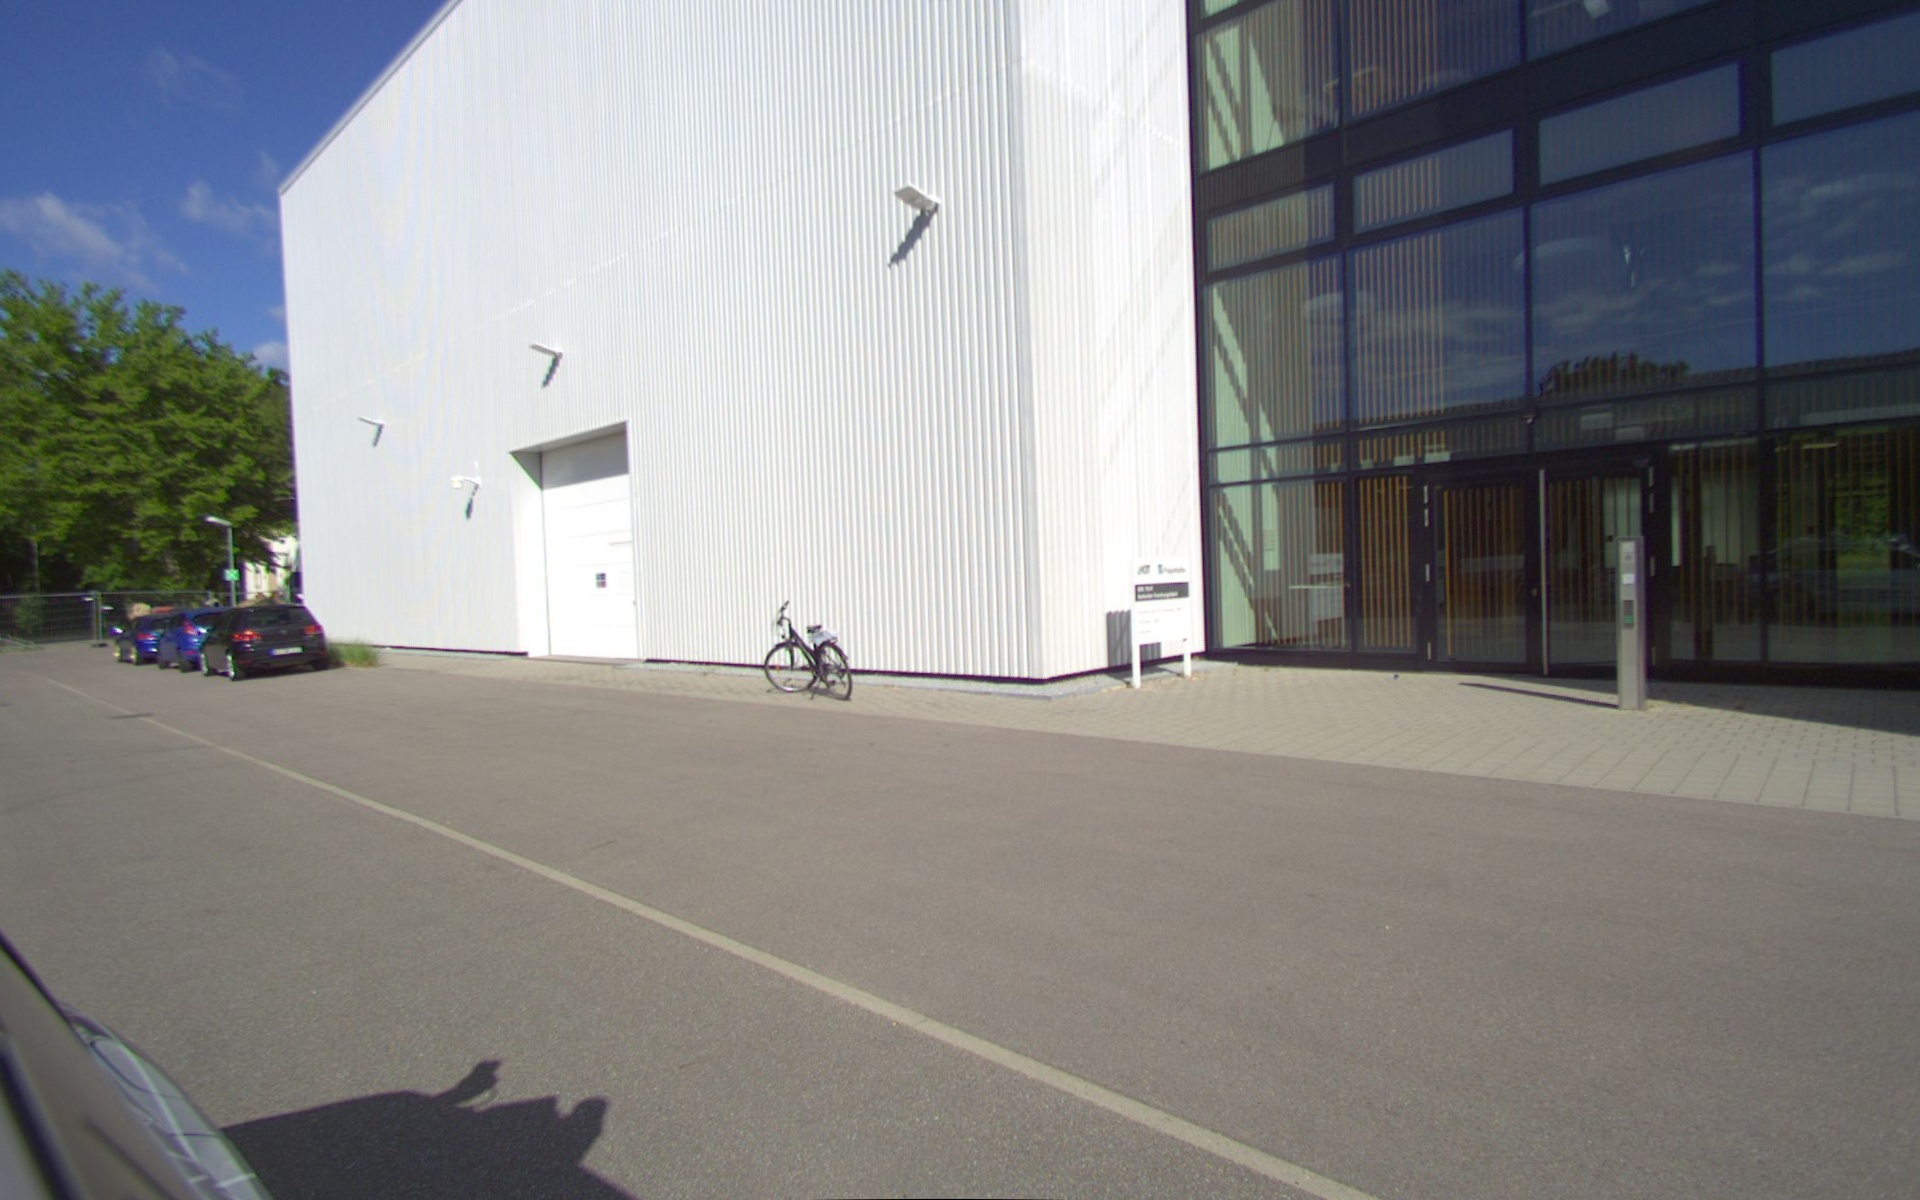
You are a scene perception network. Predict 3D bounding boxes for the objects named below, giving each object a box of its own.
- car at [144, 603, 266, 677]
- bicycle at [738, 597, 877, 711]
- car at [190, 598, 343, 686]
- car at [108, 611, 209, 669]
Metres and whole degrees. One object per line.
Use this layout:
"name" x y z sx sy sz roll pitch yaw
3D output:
"car" -18.754 0.954 25.082 4.002 1.533 1.766 -1 4 45
"bicycle" -1.873 0.596 12.170 0.895 1.151 1.905 -6 4 -32
"car" -14.842 0.836 21.581 4.002 1.533 1.870 -1 4 45
"car" -22.832 1.094 28.771 4.002 1.451 1.765 -1 0 45
